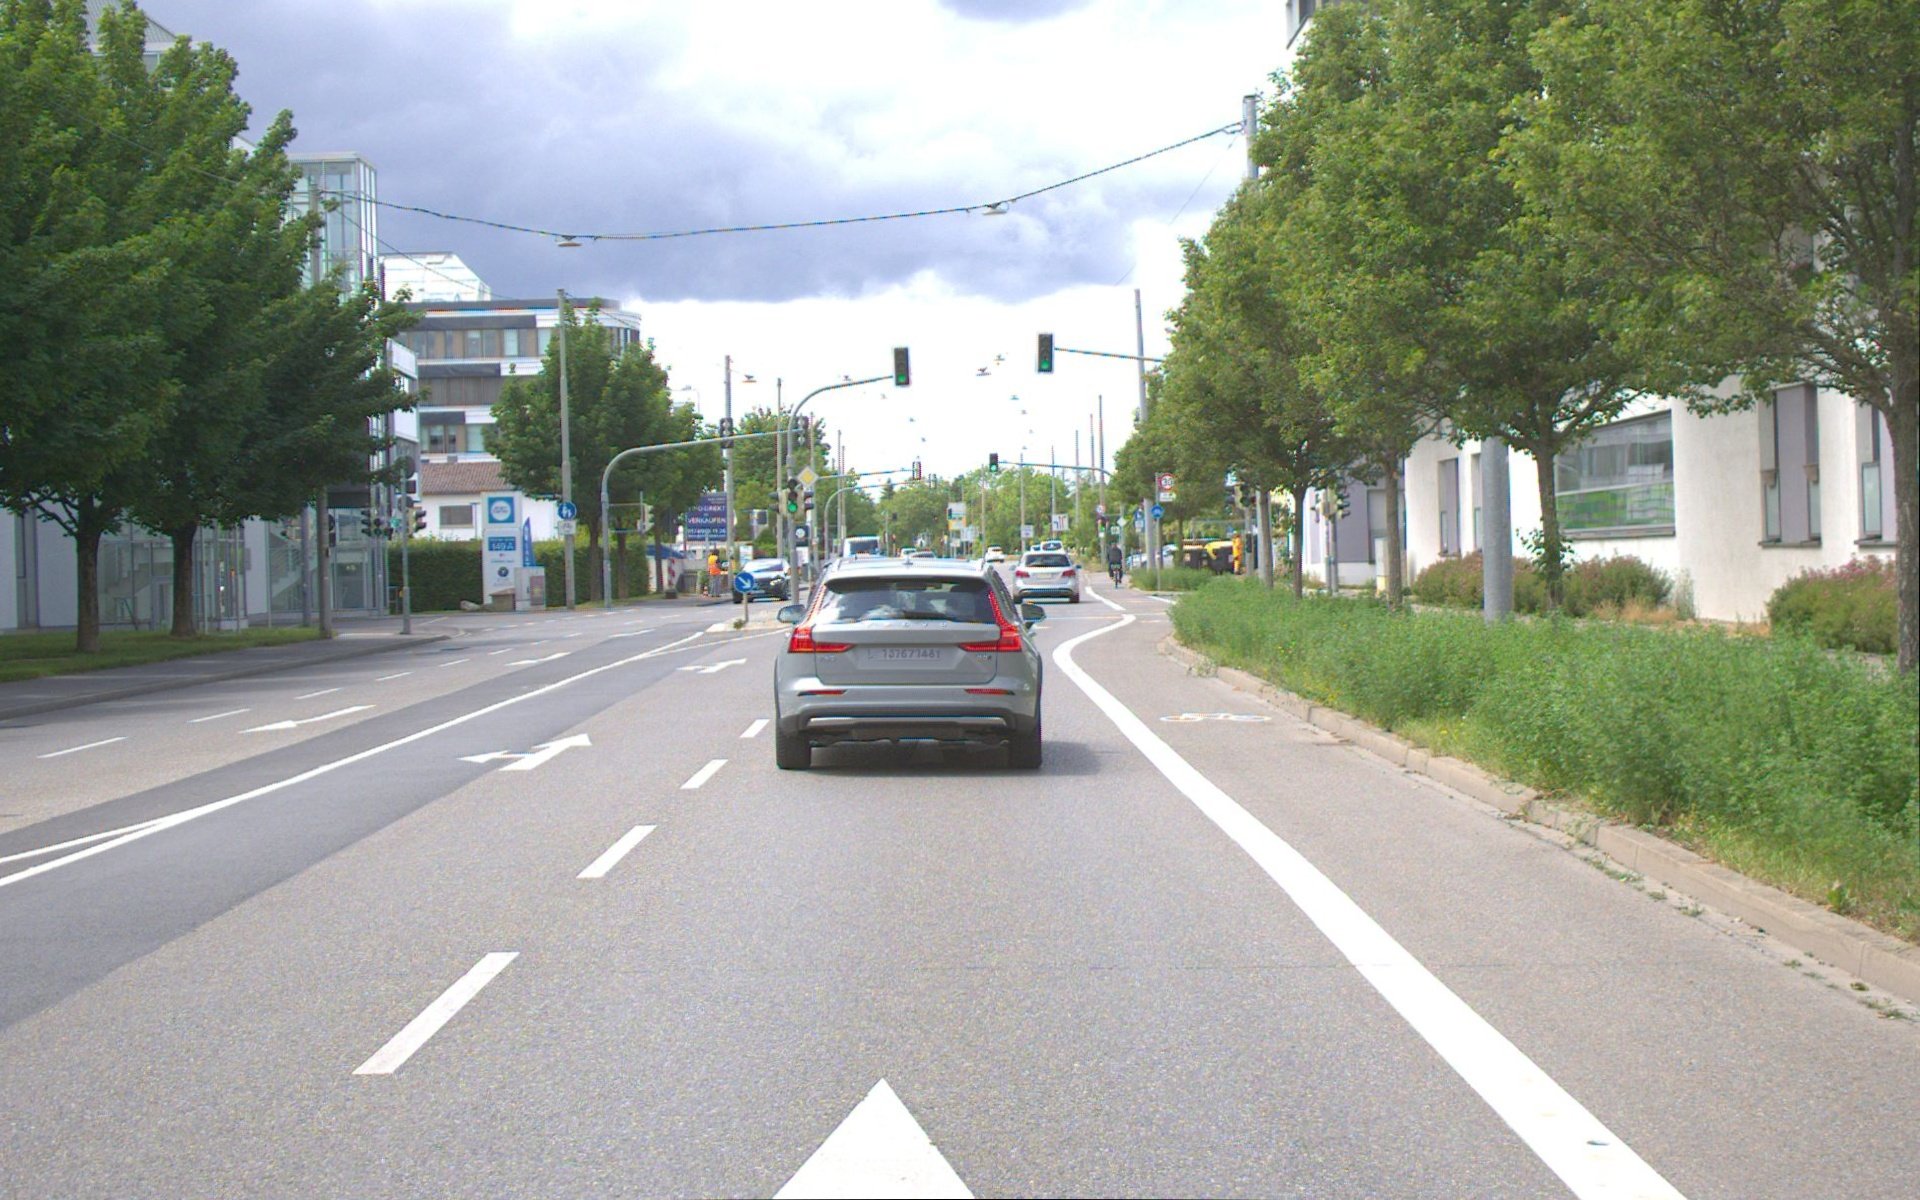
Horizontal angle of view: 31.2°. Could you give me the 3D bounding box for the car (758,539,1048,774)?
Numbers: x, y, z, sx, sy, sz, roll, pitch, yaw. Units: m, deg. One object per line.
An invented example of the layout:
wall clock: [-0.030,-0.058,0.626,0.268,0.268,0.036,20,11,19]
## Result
car: [-0.332,0.372,24.934,1.896,1.549,4.000,1,0,2]

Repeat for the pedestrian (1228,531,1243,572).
pedestrian: [11.780,-2.085,147.107,0.507,1.759,0.500,1,0,18]

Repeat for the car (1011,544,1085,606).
car: [2.439,-0.696,96.316,1.993,1.689,4.000,1,0,1]

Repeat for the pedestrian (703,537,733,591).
pedestrian: [-9.109,-1.349,129.498,0.726,2.007,0.808,1,0,44]

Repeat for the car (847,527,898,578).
car: [-4.455,-2.417,176.474,2.143,2.463,6.073,-3,1,2]

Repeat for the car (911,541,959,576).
car: [-1.168,-1.941,161.835,1.885,1.547,4.539,-3,0,4]

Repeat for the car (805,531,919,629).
car: [-1.761,-0.355,62.705,1.993,1.711,4.000,1,0,-1]

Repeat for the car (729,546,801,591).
car: [-6.845,-1.118,121.196,2.024,1.440,5.050,-3,0,2]

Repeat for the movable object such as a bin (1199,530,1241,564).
movable object such as a bin: [11.268,-2.303,149.013,1.322,1.430,1.248,-2,-1,38]

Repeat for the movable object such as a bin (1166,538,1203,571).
movable object such as a bin: [9.731,-1.956,148.850,1.320,1.356,1.250,-1,-1,18]

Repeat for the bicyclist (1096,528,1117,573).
bicyclist: [5.557,-1.879,130.282,0.638,1.670,0.890,-5,1,2]

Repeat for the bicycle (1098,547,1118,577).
bicycle: [5.595,-1.431,130.085,0.638,1.059,1.977,-5,1,2]
